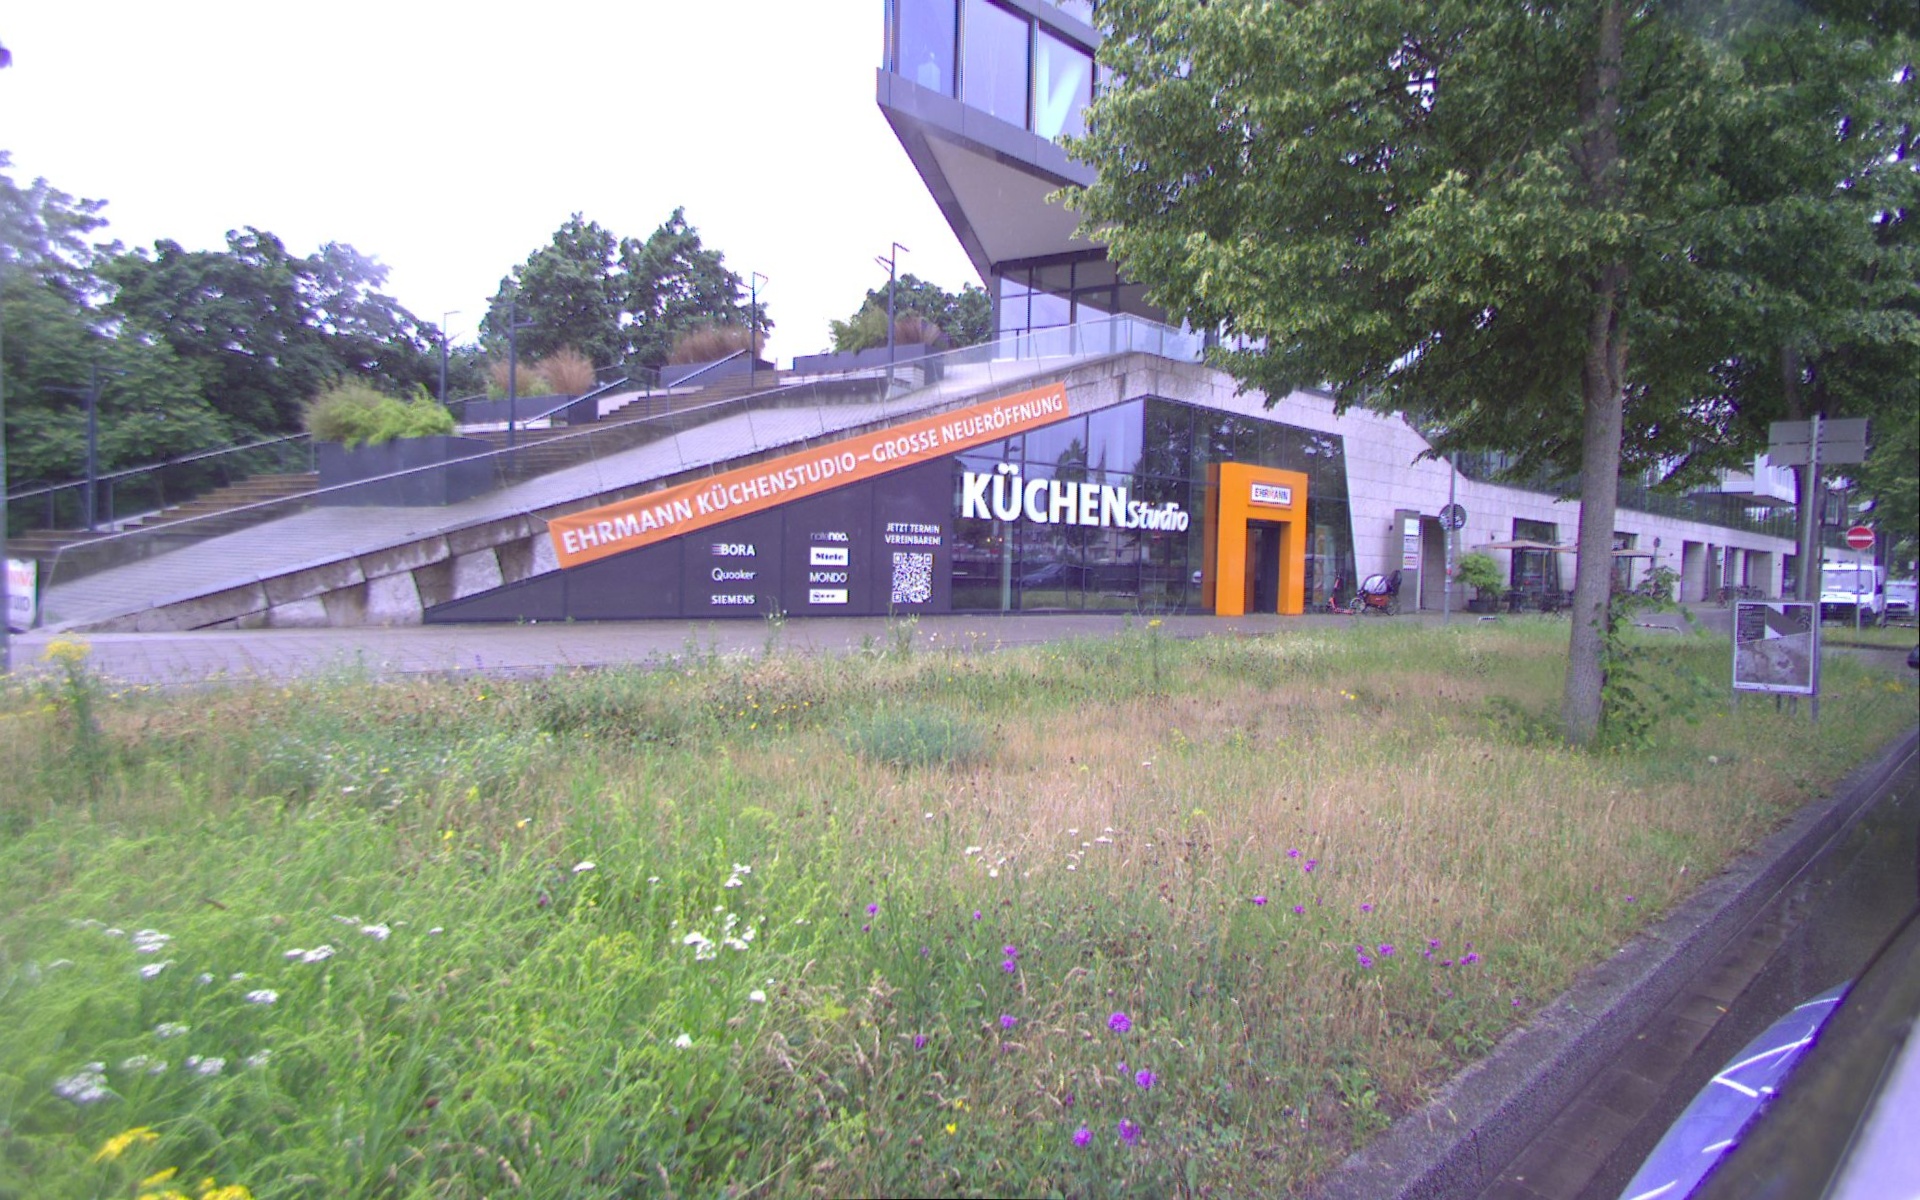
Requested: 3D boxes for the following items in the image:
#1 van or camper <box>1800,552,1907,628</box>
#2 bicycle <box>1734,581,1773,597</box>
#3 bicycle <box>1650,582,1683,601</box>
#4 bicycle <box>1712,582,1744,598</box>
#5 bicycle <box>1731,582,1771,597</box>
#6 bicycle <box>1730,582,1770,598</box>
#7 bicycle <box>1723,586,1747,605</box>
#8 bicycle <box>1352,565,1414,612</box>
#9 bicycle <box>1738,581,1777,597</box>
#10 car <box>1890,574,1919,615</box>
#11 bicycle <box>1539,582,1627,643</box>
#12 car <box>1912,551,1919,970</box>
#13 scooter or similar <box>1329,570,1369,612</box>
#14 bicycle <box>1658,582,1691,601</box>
[{"bbox_3d":[29.648,-0.366,33.511,5.367,2.320,2.028,-1,2,-42],"label":"van or camper"},{"bbox_3d":[53.866,-0.742,68.740,0.389,0.957,2.025,-1,4,-45],"label":"bicycle"},{"bbox_3d":[36.609,-0.450,52.446,0.388,0.958,2.028,-1,1,4],"label":"bicycle"},{"bbox_3d":[49.468,-0.671,65.208,0.339,0.957,1.665,0,3,-22],"label":"bicycle"},{"bbox_3d":[53.061,-0.713,67.913,0.389,0.957,2.025,-1,4,-45],"label":"bicycle"},{"bbox_3d":[52.597,-0.702,67.401,0.389,0.957,2.025,-1,4,-45],"label":"bicycle"},{"bbox_3d":[40.266,-0.220,52.583,1.823,0.957,0.403,-1,2,-34],"label":"bicycle"},{"bbox_3d":[13.258,-0.358,31.711,2.382,1.419,0.734,0,3,-41],"label":"bicycle"},{"bbox_3d":[54.794,-0.748,69.550,0.389,0.957,2.025,-1,4,-45],"label":"bicycle"},{"bbox_3d":[43.537,-0.276,45.746,4.766,1.781,1.744,-1,2,-42],"label":"car"},{"bbox_3d":[14.586,0.272,23.751,0.521,1.363,1.852,2,1,-16],"label":"bicycle"},{"bbox_3d":[5.788,0.587,4.537,3.930,1.632,1.814,-1,1,-41],"label":"car"},{"bbox_3d":[11.784,-0.274,30.662,1.214,1.243,0.343,-1,0,-22],"label":"scooter or similar"},{"bbox_3d":[37.231,-0.463,52.790,0.388,0.958,2.028,-1,1,4],"label":"bicycle"}]
